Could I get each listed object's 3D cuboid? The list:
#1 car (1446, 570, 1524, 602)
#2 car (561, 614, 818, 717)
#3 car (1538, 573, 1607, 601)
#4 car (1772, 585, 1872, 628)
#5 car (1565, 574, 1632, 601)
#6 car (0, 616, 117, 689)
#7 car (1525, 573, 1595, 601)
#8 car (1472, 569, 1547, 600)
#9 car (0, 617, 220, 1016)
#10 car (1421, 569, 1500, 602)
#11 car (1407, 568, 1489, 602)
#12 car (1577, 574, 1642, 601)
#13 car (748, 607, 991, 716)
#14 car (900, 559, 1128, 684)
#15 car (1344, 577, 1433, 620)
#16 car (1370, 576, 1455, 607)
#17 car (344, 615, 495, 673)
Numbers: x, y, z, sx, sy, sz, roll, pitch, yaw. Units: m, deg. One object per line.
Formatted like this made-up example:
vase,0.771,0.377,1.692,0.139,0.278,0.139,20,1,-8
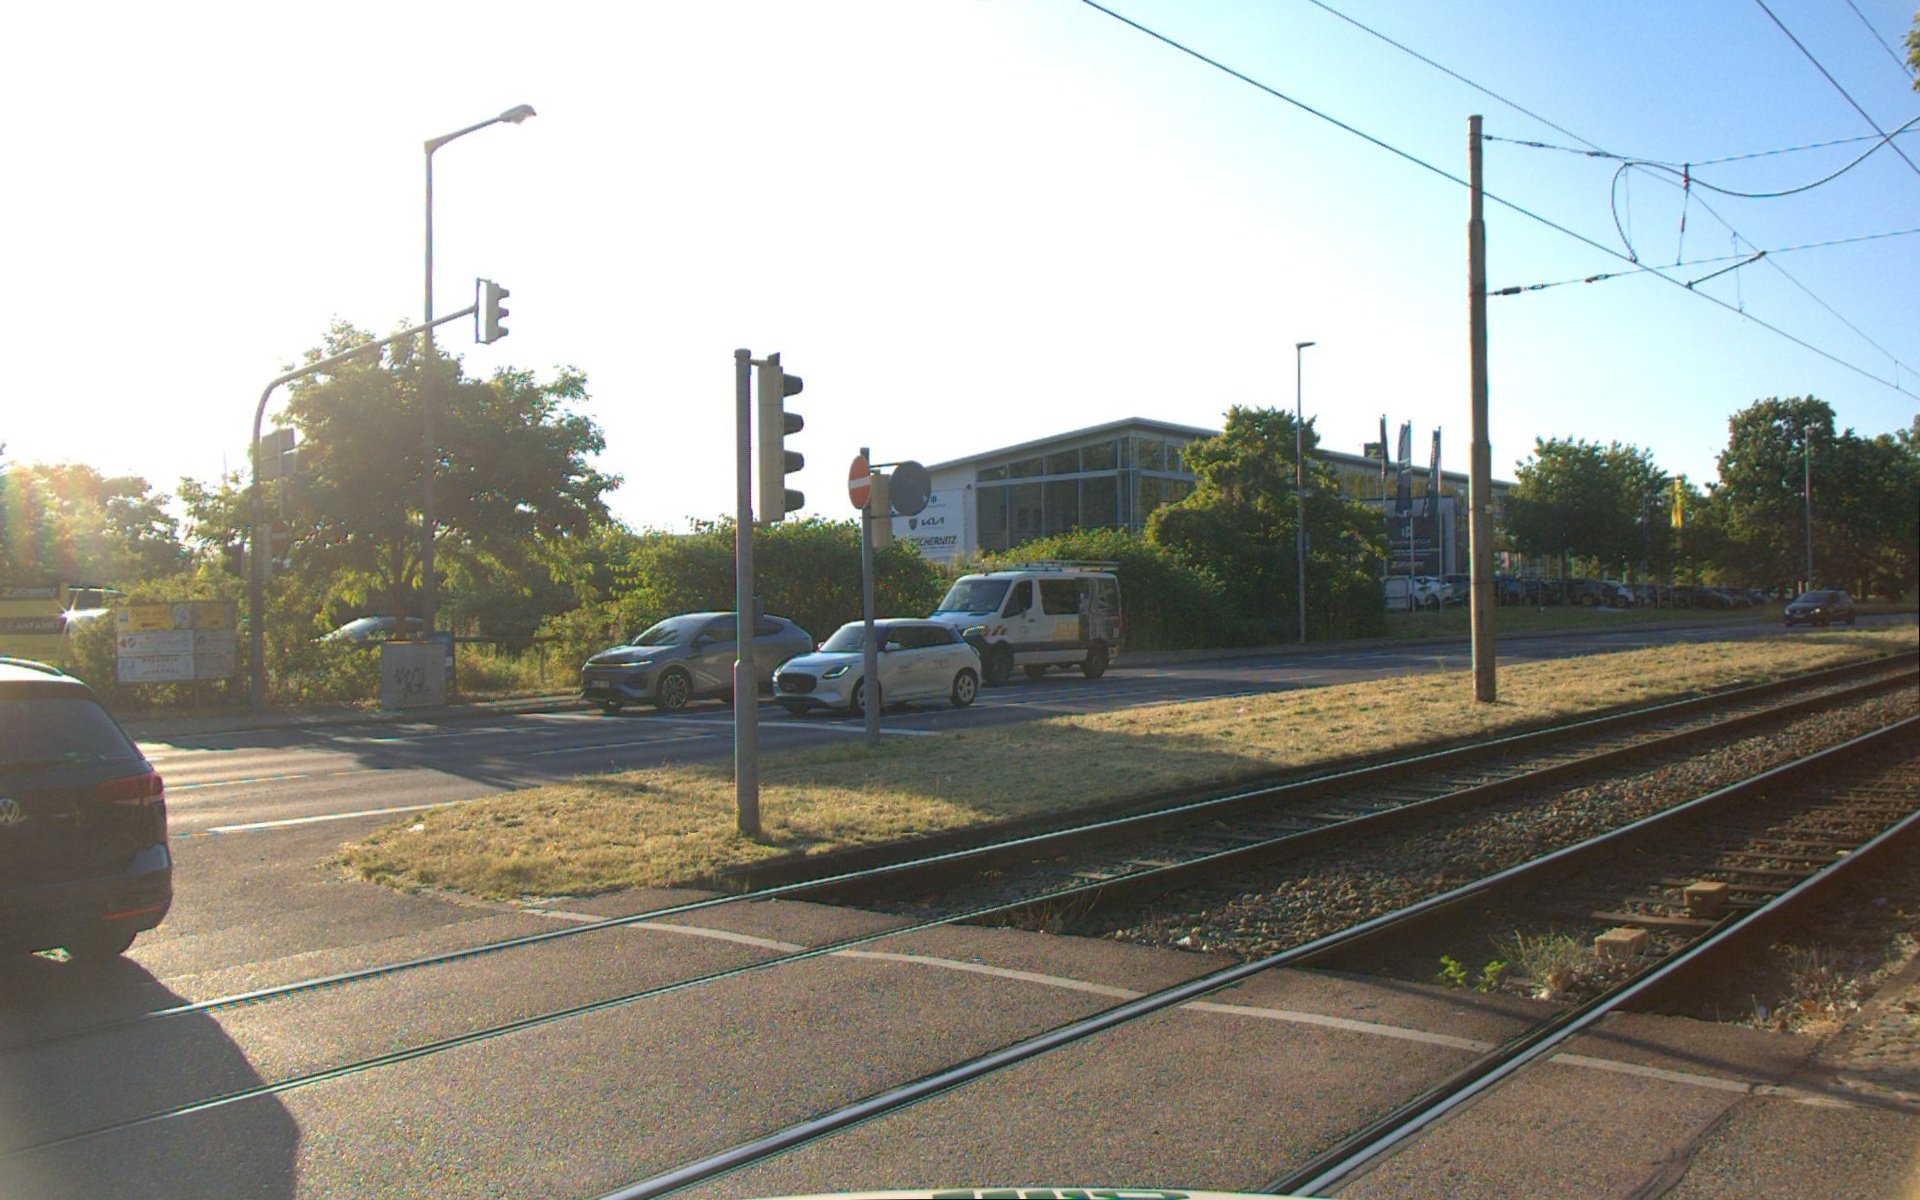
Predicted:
car,26.939,-0.713,84.890,3.709,1.594,1.760,0,0,21
car,-4.764,1.102,29.711,1.840,1.646,4.526,-1,0,38
car,35.977,-0.742,97.185,3.709,1.594,1.760,0,0,21
car,35.722,0.270,68.519,3.943,1.713,1.797,-1,0,-29
car,38.400,-0.751,99.526,3.709,1.594,1.760,0,0,21
car,-22.899,1.248,39.704,2.079,1.677,4.301,-1,0,38
car,34.395,-0.737,94.868,3.709,1.594,1.760,0,0,21
car,29.076,-0.783,87.535,3.709,1.594,1.760,0,0,21
car,-5.445,0.882,7.944,4.178,1.583,1.821,0,0,40
car,25.113,-0.705,82.985,3.709,1.594,1.760,0,0,21
car,23.738,-0.703,80.438,3.709,1.594,1.760,0,0,21
car,39.960,-0.756,101.841,3.709,1.594,1.760,0,0,21
car,-1.436,0.957,27.465,1.841,1.646,3.980,-1,0,39
car,1.327,0.438,37.270,1.972,2.611,5.846,-1,0,39
car,19.378,-0.074,74.808,3.709,1.892,1.760,0,0,21
car,21.204,-0.400,77.485,3.709,1.412,1.760,0,0,21
car,-16.694,1.330,51.162,3.965,1.665,2.088,0,0,-42
